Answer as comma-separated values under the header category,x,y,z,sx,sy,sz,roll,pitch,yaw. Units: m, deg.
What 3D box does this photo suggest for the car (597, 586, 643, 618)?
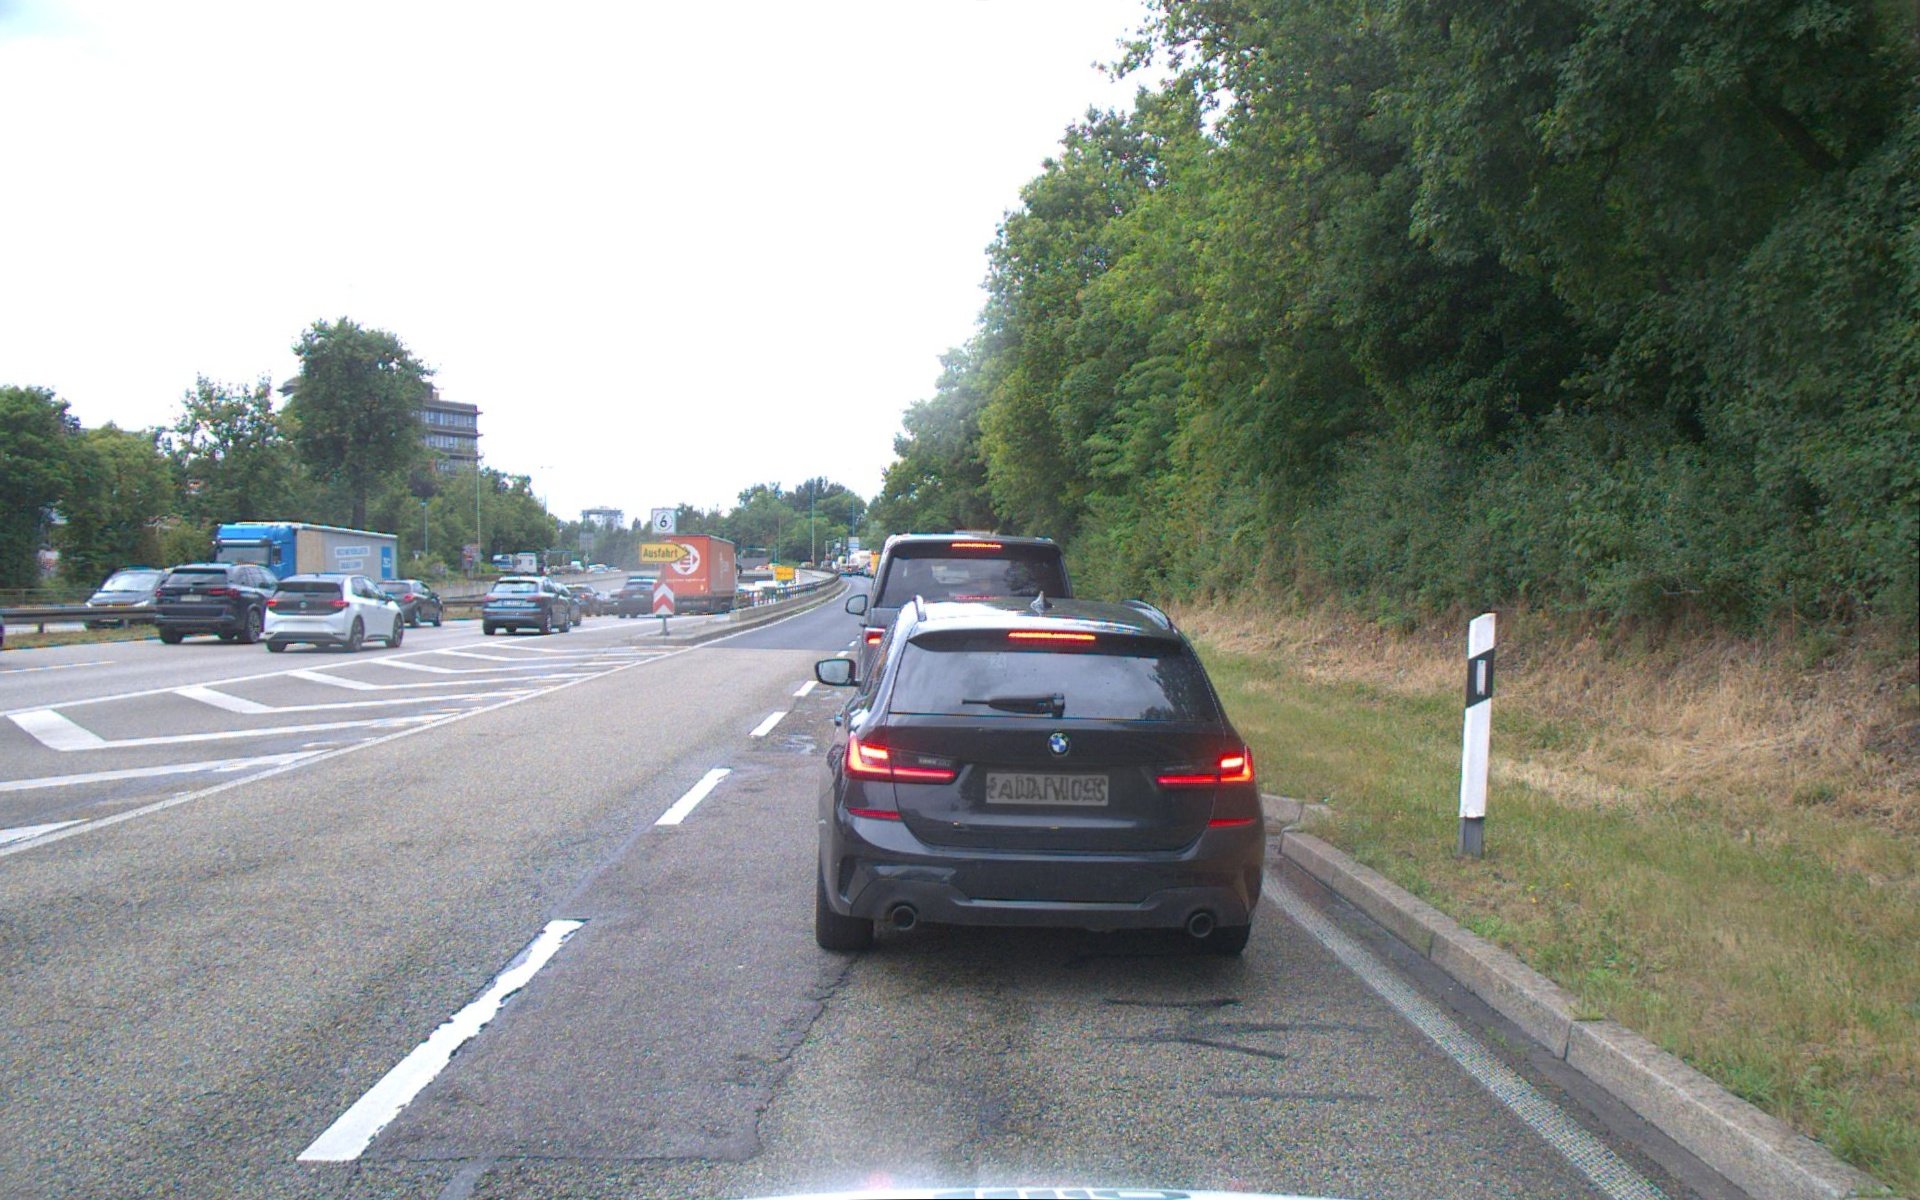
category,x,y,z,sx,sy,sz,roll,pitch,yaw
car,-18.502,0.104,90.203,1.822,1.646,3.998,1,0,-3

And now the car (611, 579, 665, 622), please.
category,x,y,z,sx,sy,sz,roll,pitch,yaw
car,-14.302,0.022,73.617,1.823,1.847,3.997,1,0,-4

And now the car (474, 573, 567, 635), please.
category,x,y,z,sx,sy,sz,roll,pitch,yaw
car,-12.261,0.092,46.396,1.756,1.668,3.997,0,1,-3

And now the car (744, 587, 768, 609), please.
category,x,y,z,sx,sy,sz,roll,pitch,yaw
car,-15.037,-0.140,122.158,1.526,1.579,3.814,1,0,-4

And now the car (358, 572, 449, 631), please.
category,x,y,z,sx,sy,sz,roll,pitch,yaw
car,-17.505,0.047,52.193,1.683,1.746,3.997,1,0,-4

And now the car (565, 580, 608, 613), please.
category,x,y,z,sx,sy,sz,roll,pitch,yaw
car,-18.165,-0.163,80.528,1.492,1.545,3.996,1,0,-5

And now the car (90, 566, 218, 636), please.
category,x,y,z,sx,sy,sz,roll,pitch,yaw
car,-24.391,0.000,50.207,1.953,2.049,3.999,0,1,-1

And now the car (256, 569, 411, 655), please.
category,x,y,z,sx,sy,sz,roll,pitch,yaw
car,-12.891,0.244,34.308,1.764,1.632,4.254,1,0,-3

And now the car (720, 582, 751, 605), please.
category,x,y,z,sx,sy,sz,roll,pitch,yaw
car,-15.092,-0.473,111.247,1.742,1.508,3.998,0,1,-3

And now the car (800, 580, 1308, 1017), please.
category,x,y,z,sx,sy,sz,roll,pitch,yaw
car,0.239,0.666,7.812,1.789,1.508,3.998,0,1,-3

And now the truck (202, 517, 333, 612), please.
category,x,y,z,sx,sy,sz,roll,pitch,yaw
truck,-29.196,-1.430,70.045,2.715,3.775,6.636,1,0,-1

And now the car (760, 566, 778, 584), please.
category,x,y,z,sx,sy,sz,roll,pitch,yaw
car,-18.296,-2.373,158.656,1.526,1.579,3.996,1,0,-4

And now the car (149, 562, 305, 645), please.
category,x,y,z,sx,sy,sz,roll,pitch,yaw
car,-16.487,0.077,37.434,1.836,1.746,3.998,1,0,-2

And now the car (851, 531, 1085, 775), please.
category,x,y,z,sx,sy,sz,roll,pitch,yaw
car,0.020,0.418,14.849,1.786,1.853,3.999,1,0,-1

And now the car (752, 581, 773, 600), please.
category,x,y,z,sx,sy,sz,roll,pitch,yaw
car,-16.370,-0.776,137.122,1.526,1.579,3.997,0,1,-4

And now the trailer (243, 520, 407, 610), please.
category,x,y,z,sx,sy,sz,roll,pitch,yaw
trailer,-29.240,-1.461,76.985,2.631,3.767,13.256,1,0,-1

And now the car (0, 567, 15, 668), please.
category,x,y,z,sx,sy,sz,roll,pitch,yaw
car,-16.294,0.297,25.126,1.694,1.629,3.927,0,1,-1

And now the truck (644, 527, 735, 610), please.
category,x,y,z,sx,sy,sz,roll,pitch,yaw
truck,-14.579,-1.689,90.235,3.420,4.144,13.583,0,1,-3
